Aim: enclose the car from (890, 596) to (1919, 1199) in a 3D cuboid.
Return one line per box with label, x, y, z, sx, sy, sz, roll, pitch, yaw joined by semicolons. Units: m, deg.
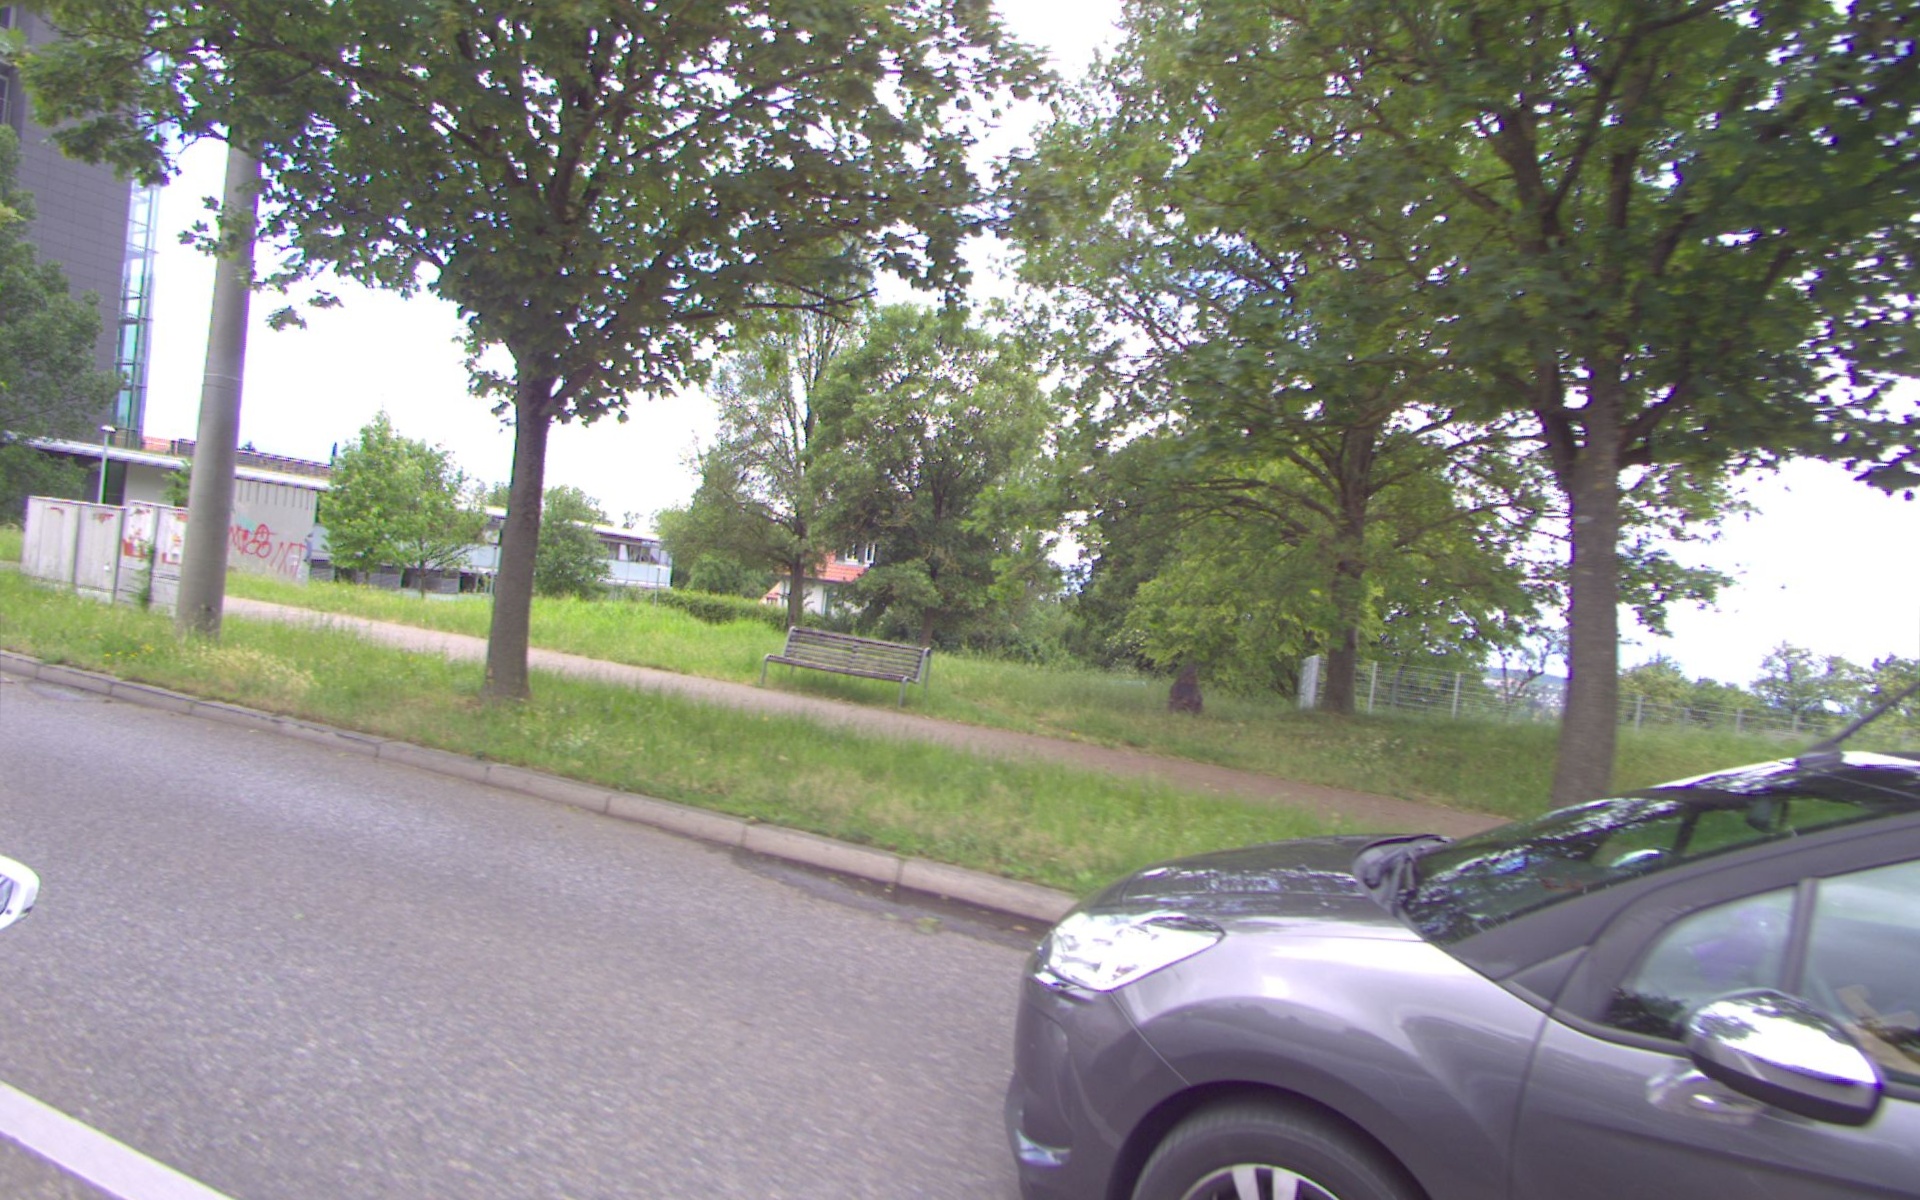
car;2.051;1.018;2.002;3.993;1.478;1.704;7;-1;30
